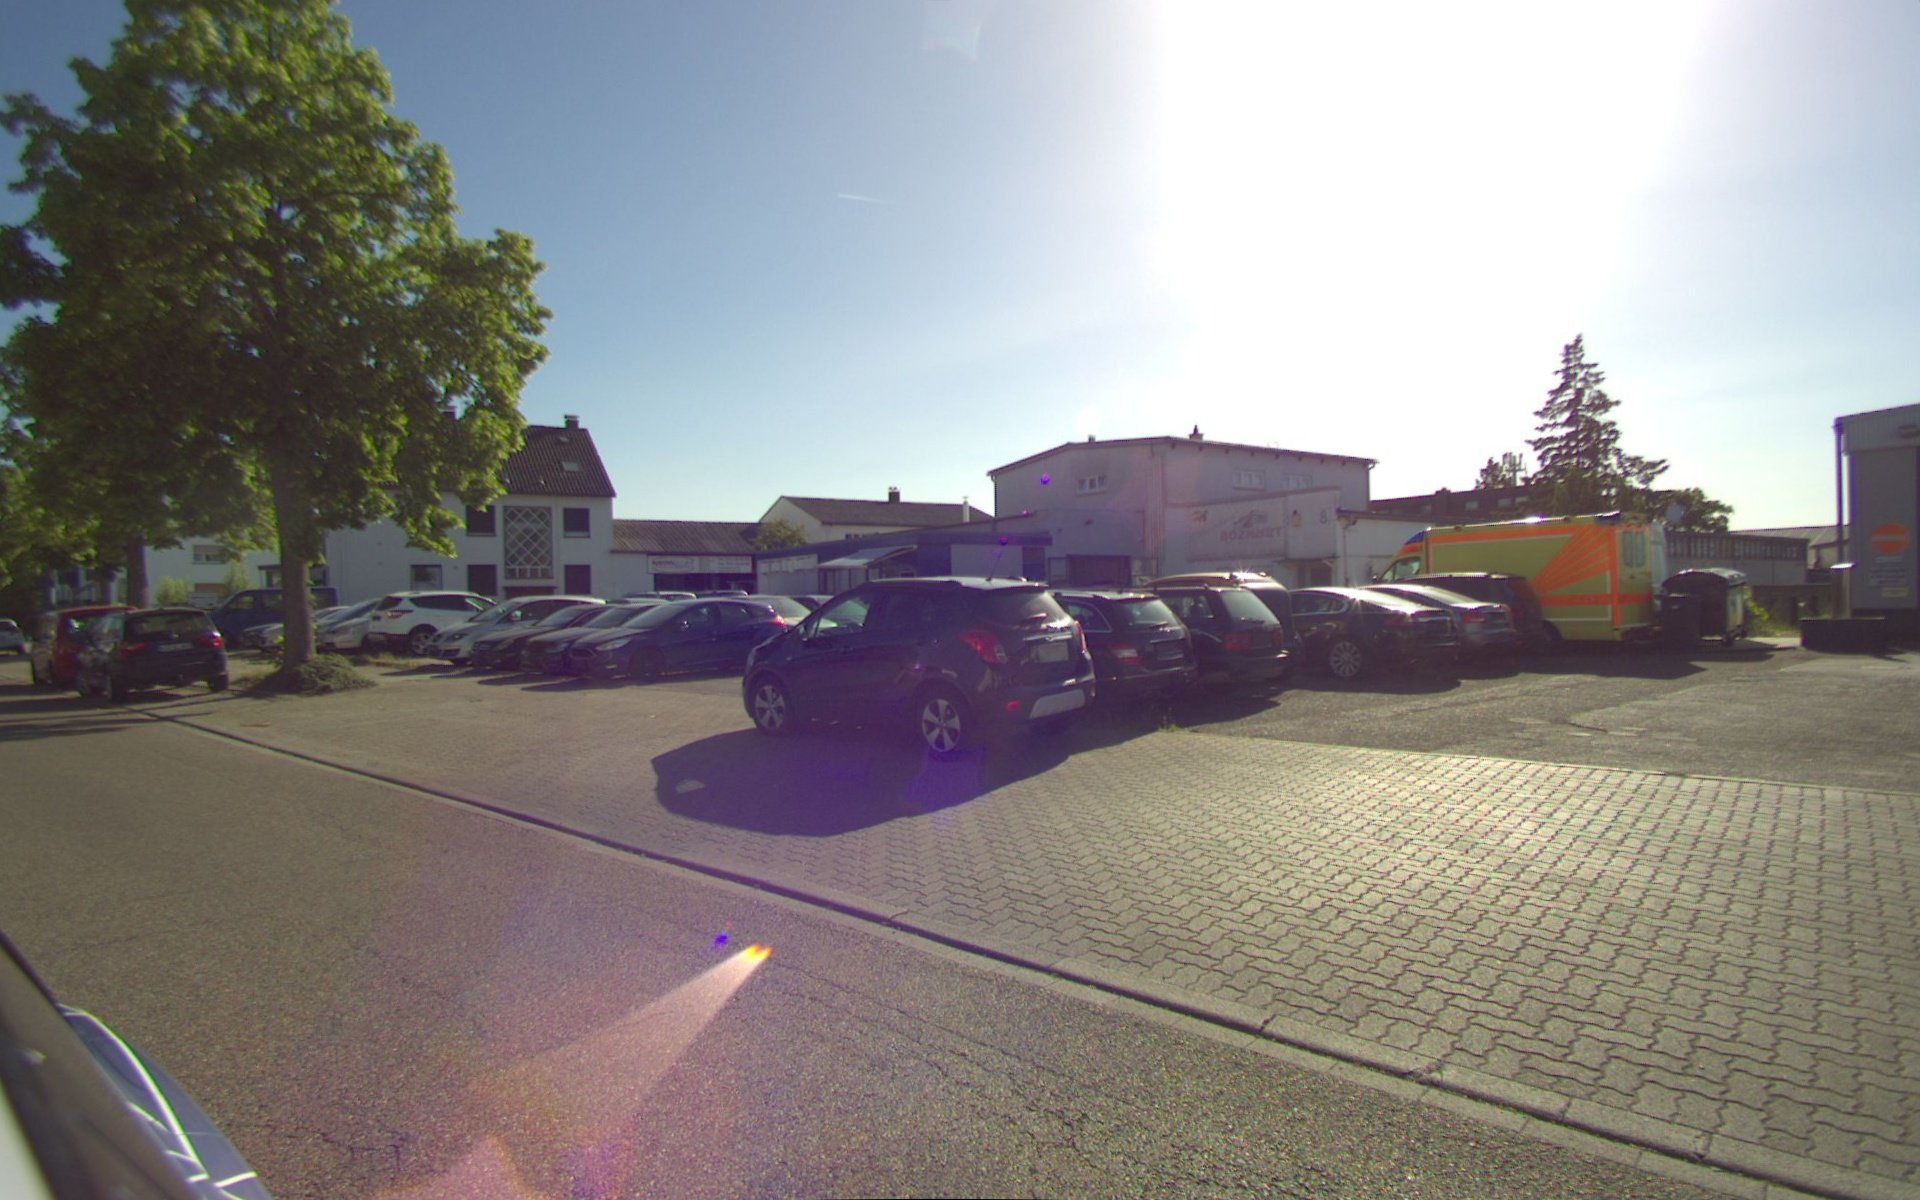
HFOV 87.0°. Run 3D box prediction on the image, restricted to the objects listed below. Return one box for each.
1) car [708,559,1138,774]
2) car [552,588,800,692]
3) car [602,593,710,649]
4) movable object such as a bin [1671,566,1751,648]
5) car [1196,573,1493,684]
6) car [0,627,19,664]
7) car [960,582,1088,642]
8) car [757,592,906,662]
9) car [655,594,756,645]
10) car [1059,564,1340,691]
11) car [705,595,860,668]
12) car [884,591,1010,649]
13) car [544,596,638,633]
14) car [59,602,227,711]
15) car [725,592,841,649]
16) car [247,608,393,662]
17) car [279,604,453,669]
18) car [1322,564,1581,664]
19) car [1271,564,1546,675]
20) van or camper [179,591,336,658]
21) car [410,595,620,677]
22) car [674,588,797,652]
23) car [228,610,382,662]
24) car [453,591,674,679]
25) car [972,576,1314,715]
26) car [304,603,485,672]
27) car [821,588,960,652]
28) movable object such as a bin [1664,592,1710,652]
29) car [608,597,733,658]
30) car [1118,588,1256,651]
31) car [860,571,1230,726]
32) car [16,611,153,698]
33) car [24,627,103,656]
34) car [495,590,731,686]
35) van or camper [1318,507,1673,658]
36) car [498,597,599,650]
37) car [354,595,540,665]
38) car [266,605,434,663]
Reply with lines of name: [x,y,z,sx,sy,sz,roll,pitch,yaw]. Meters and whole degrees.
car: [-0.523,0.560,10.506,4.273,1.727,1.843,-1,3,40]
car: [-5.295,0.681,19.237,4.199,1.741,1.767,-1,0,-43]
car: [-9.663,0.640,31.991,1.644,1.631,4.004,-1,0,-43]
movable object such as a bin: [14.111,0.131,19.022,0.721,1.500,1.049,-1,0,-41]
car: [6.104,0.470,16.485,1.754,1.557,4.172,-1,-1,-38]
car: [-40.042,1.889,41.583,4.208,1.446,1.669,-2,2,43]
car: [1.832,0.358,30.283,1.642,1.666,4.010,-1,0,-35]
car: [-3.281,0.649,25.314,1.644,1.576,4.004,-1,0,-43]
car: [-8.512,0.639,33.684,1.644,1.576,3.719,-1,0,-43]
car: [3.691,0.449,16.254,1.754,1.761,4.172,-1,-2,-38]
car: [-4.213,0.699,23.641,1.644,1.528,4.004,-1,0,-43]
car: [-0.458,0.557,29.382,1.642,1.528,4.010,-1,0,-35]
car: [-16.974,0.654,46.633,3.755,1.553,1.551,-2,0,-37]
car: [-15.821,1.019,19.516,4.552,1.784,1.657,-2,2,41]
car: [-5.380,0.615,30.503,1.644,1.576,3.785,-1,0,-43]
car: [-21.037,1.123,33.353,1.547,1.553,3.766,-1,0,41]
car: [-17.781,1.031,30.421,1.766,1.766,4.201,-1,0,44]
car: [9.524,0.311,19.906,1.754,1.761,4.172,-1,-2,-38]
car: [7.960,0.371,18.308,1.754,1.761,4.172,-1,-2,-38]
van or camper: [-27.170,0.875,39.268,4.828,2.337,2.249,-2,1,-36]
car: [-10.490,0.781,24.068,1.766,1.741,4.203,-1,0,43]
car: [-6.539,0.574,29.238,1.644,1.706,4.004,-1,0,-43]
car: [-22.607,1.197,35.007,4.199,1.553,1.767,-2,0,-43]
car: [-8.675,0.696,22.355,4.199,1.741,1.767,-1,0,-43]
car: [2.377,0.484,13.803,4.274,1.601,1.842,1,1,40]
car: [-15.992,1.011,28.754,4.199,1.741,1.767,-1,0,-43]
car: [-1.924,0.518,27.182,1.644,1.576,3.853,-1,0,-43]
movable object such as a bin: [13.332,0.403,18.553,0.419,1.083,0.585,-1,0,-41]
car: [-8.008,0.739,27.826,1.644,1.528,4.004,-1,0,-43]
car: [6.257,0.485,27.713,3.938,1.563,1.672,-2,0,-41]
car: [0.924,0.520,12.517,4.273,1.602,1.842,-1,0,40]
car: [-20.457,1.201,23.583,4.340,1.765,1.785,-1,2,41]
car: [-56.034,2.563,63.369,1.589,1.525,4.397,-2,0,-9]
car: [-6.994,0.691,20.680,4.199,1.741,1.767,-1,0,-43]
van or camper: [11.043,-0.291,21.466,2.137,2.736,6.281,-1,0,-38]
car: [-13.038,0.730,31.956,1.644,1.528,4.004,-1,0,-43]
car: [-13.986,0.769,27.788,1.765,1.741,4.204,-1,0,41]
car: [-19.371,1.039,32.274,1.764,1.597,4.206,-2,0,40]
